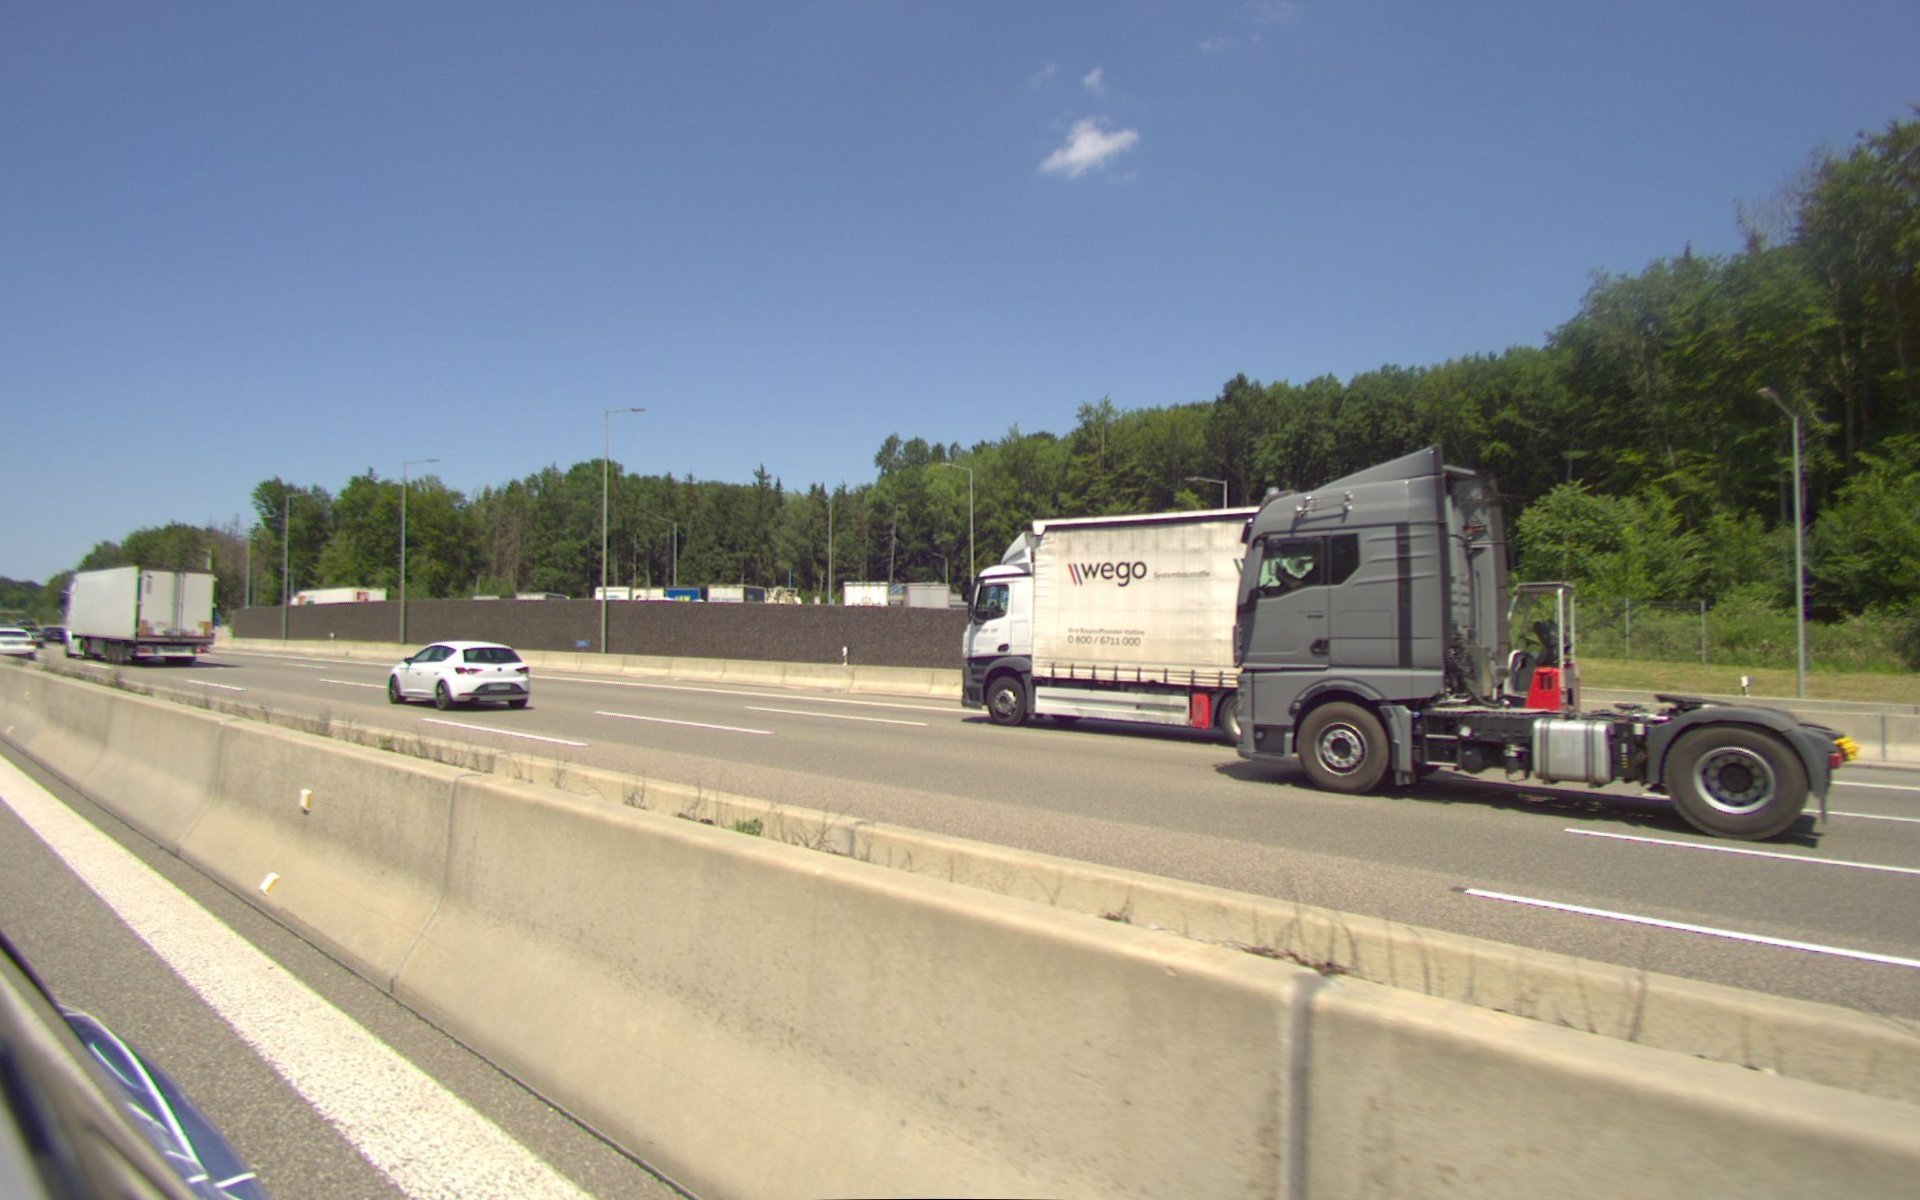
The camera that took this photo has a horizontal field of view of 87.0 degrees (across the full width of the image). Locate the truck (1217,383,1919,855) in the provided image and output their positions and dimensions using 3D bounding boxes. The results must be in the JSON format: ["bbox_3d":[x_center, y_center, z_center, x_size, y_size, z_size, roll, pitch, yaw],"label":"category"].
[{"bbox_3d":[6.623,0.252,11.116,7.013,3.870,2.551,-1,-4,41],"label":"truck"}]

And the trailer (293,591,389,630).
[{"bbox_3d":[-54.233,1.028,88.398,14.603,3.148,2.940,-1,-3,41],"label":"trailer"}]

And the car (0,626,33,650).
[{"bbox_3d":[-64.012,2.535,67.869,5.014,1.498,1.973,-1,-4,40],"label":"car"}]

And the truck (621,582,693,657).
[{"bbox_3d":[-24.527,1.656,82.662,3.179,5.656,11.548,0,-2,-4],"label":"truck"}]

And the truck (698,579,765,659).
[{"bbox_3d":[-17.245,1.559,77.376,3.317,5.656,11.548,0,-2,-4],"label":"truck"}]

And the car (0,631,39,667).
[{"bbox_3d":[-40.466,2.047,42.736,4.152,1.469,1.730,-1,-3,40],"label":"car"}]

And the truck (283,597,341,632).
[{"bbox_3d":[-59.643,1.385,93.127,6.200,3.148,2.896,-1,-3,41],"label":"truck"}]

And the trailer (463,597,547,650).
[{"bbox_3d":[-47.032,2.491,105.259,3.083,5.111,14.579,0,-2,-4],"label":"trailer"}]

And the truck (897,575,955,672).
[{"bbox_3d":[-2.479,1.642,67.152,3.175,5.656,16.724,0,-2,-4],"label":"truck"}]

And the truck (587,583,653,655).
[{"bbox_3d":[-28.003,1.653,83.766,3.179,5.656,8.496,0,-2,-4],"label":"truck"}]

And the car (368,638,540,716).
[{"bbox_3d":[-11.207,1.622,22.289,4.457,1.518,1.705,-1,-3,40],"label":"car"}]

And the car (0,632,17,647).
[{"bbox_3d":[-101.425,4.211,107.161,4.134,1.559,1.736,-1,-3,40],"label":"car"}]

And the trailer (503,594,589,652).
[{"bbox_3d":[-39.346,2.279,96.964,3.175,5.111,14.579,0,-2,-4],"label":"trailer"}]

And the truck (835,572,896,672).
[{"bbox_3d":[-5.937,1.527,65.674,3.399,5.656,16.724,0,-2,-4],"label":"truck"}]

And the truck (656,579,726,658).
[{"bbox_3d":[-20.680,1.557,78.695,3.179,5.656,11.548,0,-2,-4],"label":"truck"}]

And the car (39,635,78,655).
[{"bbox_3d":[-73.039,3.645,81.945,4.134,1.559,1.736,-1,-3,40],"label":"car"}]

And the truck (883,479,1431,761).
[{"bbox_3d":[3.174,0.422,19.783,10.593,4.229,2.804,-1,-3,42],"label":"truck"}]

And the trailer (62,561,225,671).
[{"bbox_3d":[-36.570,0.813,44.978,14.460,4.257,2.991,-1,-4,41],"label":"trailer"}]

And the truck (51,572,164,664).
[{"bbox_3d":[-42.016,0.940,49.808,6.945,4.168,3.015,-1,-5,41],"label":"truck"}]
